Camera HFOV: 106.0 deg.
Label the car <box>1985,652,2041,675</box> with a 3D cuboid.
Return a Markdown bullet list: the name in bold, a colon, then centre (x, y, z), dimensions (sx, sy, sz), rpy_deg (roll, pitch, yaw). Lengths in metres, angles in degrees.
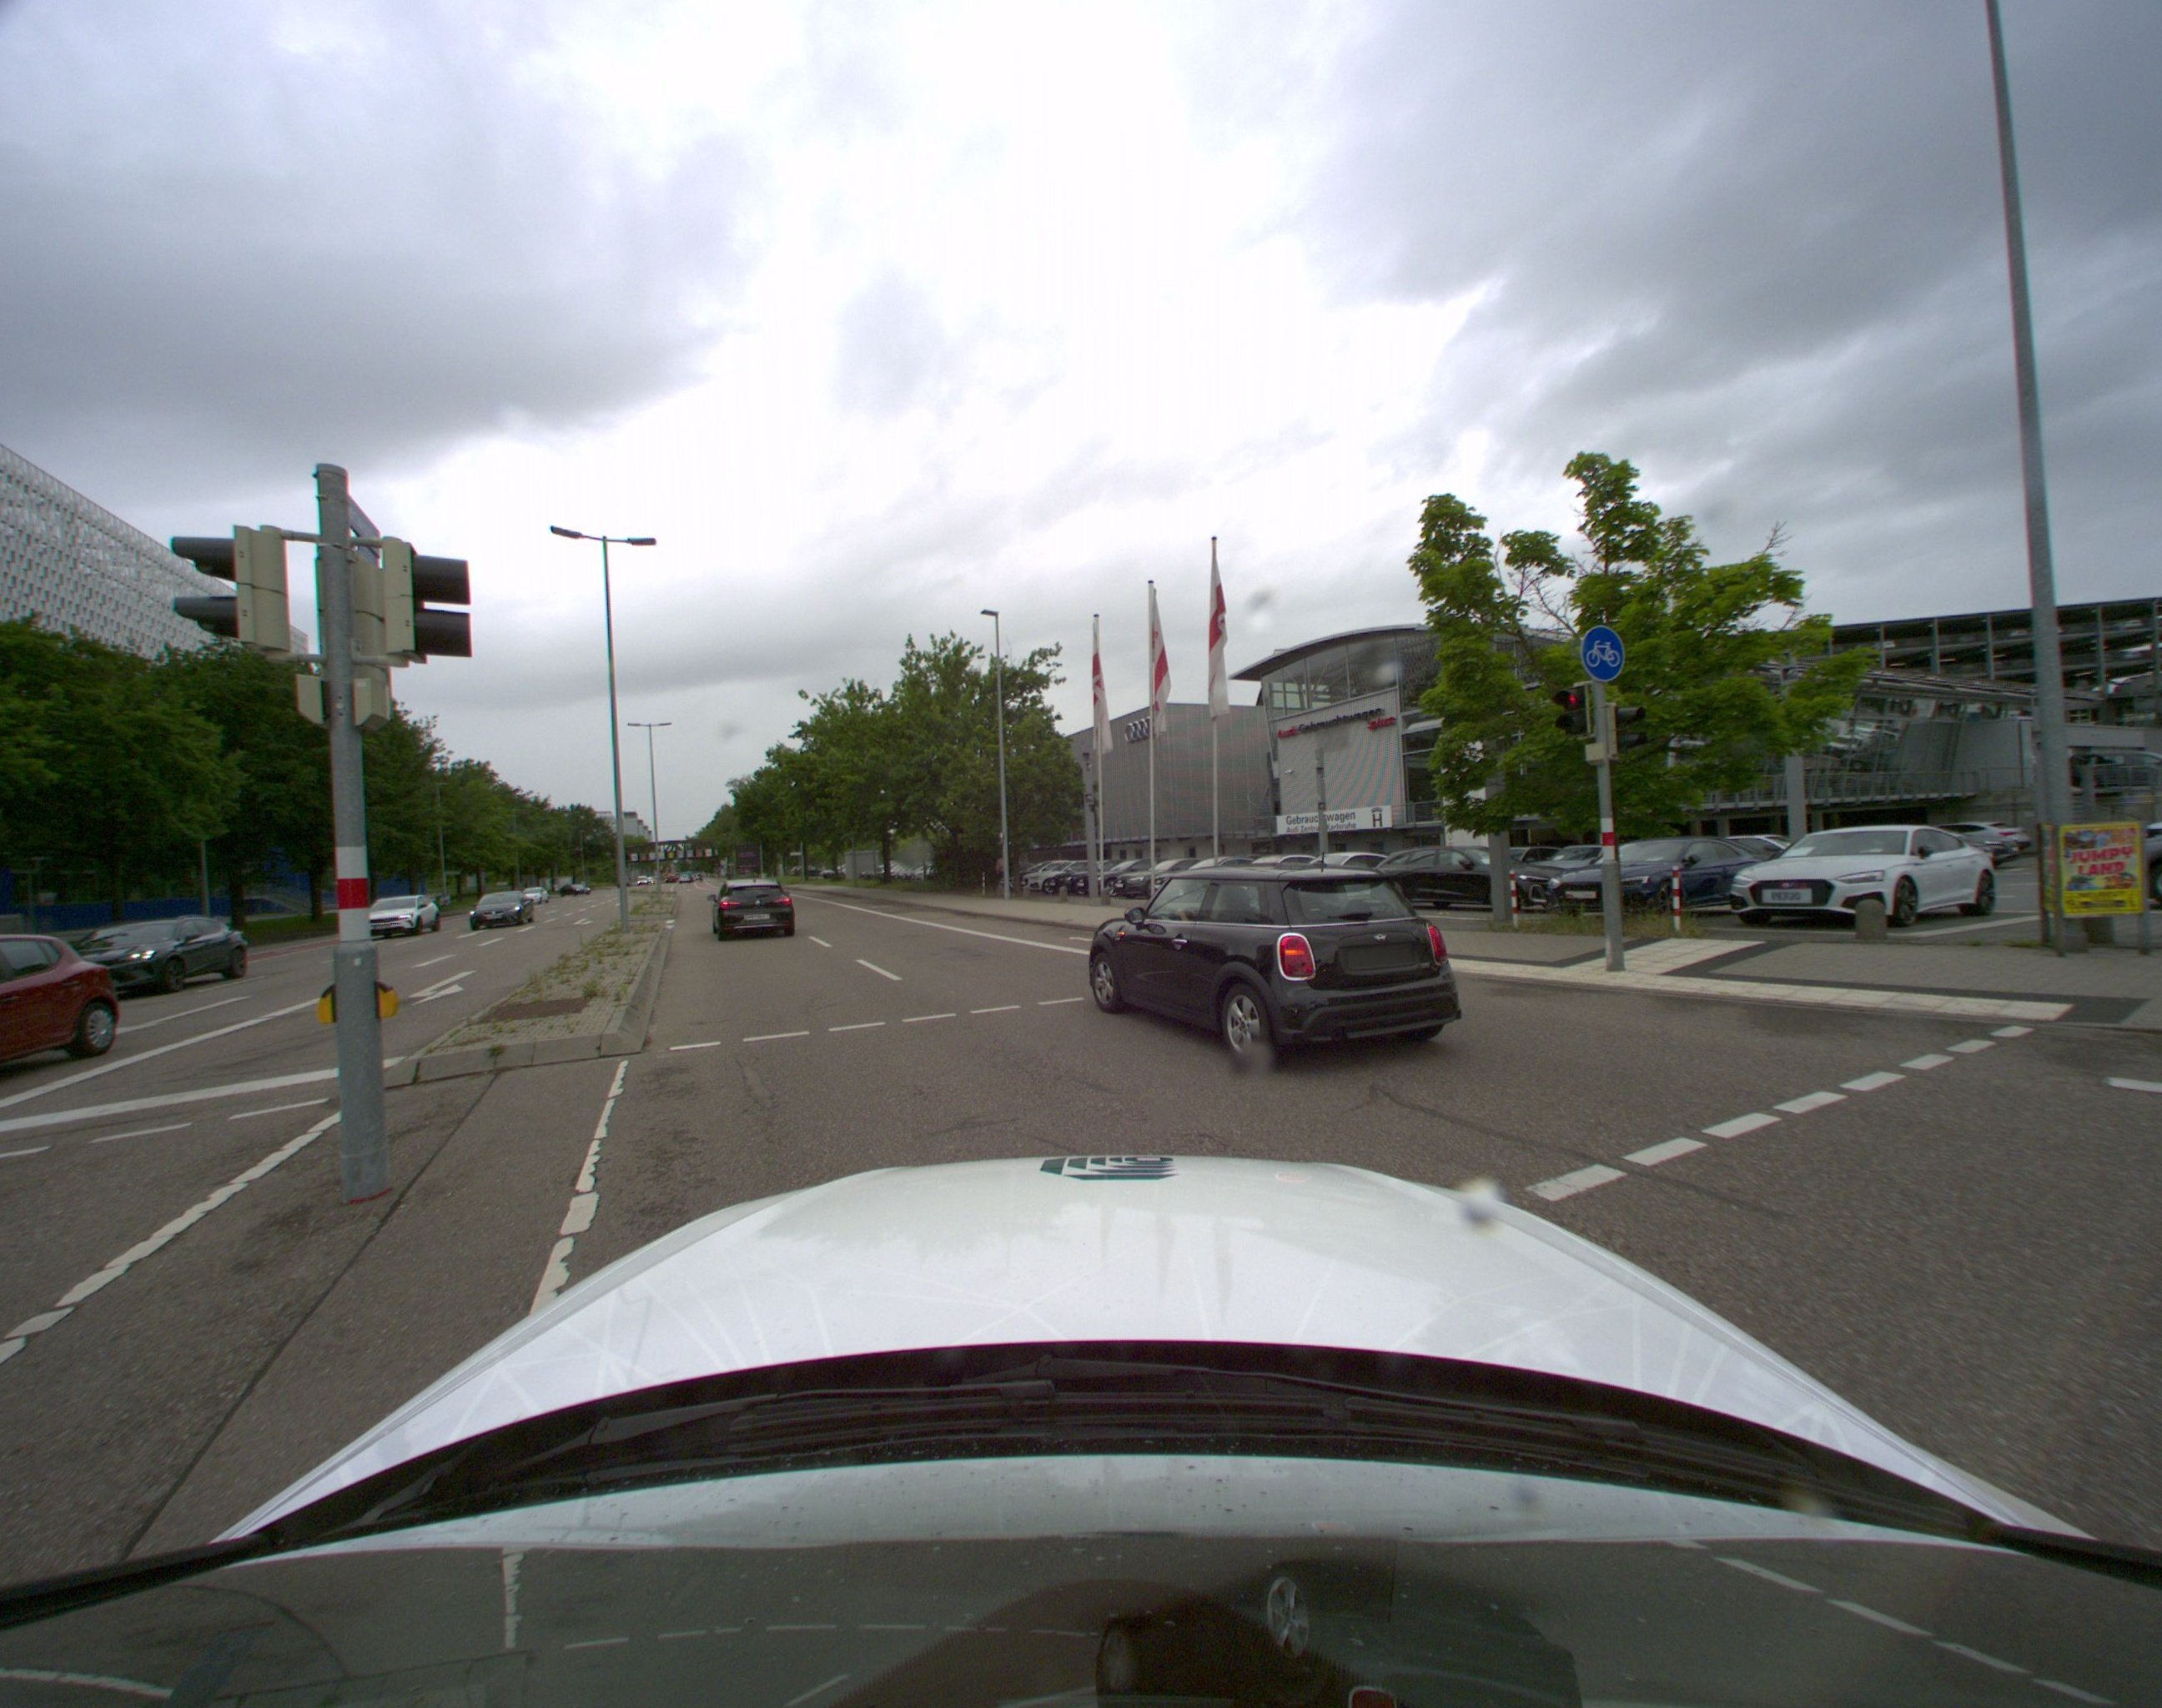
- **car**: centre (104.426, -21.325, 91.305), dimensions (1.981, 1.667, 4.012), rpy_deg (-2, 1, 10)

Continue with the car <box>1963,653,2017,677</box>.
- **car**: centre (102.288, -21.248, 91.676), dimensions (1.981, 1.667, 4.012), rpy_deg (-2, 1, 10)

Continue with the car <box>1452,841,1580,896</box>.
- **car**: centre (15.364, 0.455, 28.738), dimensions (4.327, 1.695, 1.795), rpy_deg (-2, 1, -26)

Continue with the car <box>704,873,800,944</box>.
- **car**: centre (-8.342, 1.280, 20.449), dimensions (1.767, 1.434, 3.963), rpy_deg (-4, 1, -28)

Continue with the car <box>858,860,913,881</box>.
- **car**: centre (-17.974, 1.485, 74.770), dimensions (4.571, 1.702, 1.984), rpy_deg (3, -1, -25)

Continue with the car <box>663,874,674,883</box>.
- **car**: centre (-90.699, 5.397, 179.085), dimensions (1.959, 1.815, 3.969), rpy_deg (-2, 1, -23)

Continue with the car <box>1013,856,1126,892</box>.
- **car**: centre (-0.494, 0.868, 36.115), dimensions (4.674, 1.472, 1.832), rpy_deg (0, 0, -27)

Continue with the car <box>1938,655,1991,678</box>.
- **car**: centre (99.786, -21.133, 92.038), dimensions (1.981, 1.667, 4.012), rpy_deg (-2, 1, 10)

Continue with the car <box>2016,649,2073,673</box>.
- **car**: centre (107.383, -21.527, 90.800), dimensions (1.981, 1.667, 4.012), rpy_deg (-2, 1, 10)

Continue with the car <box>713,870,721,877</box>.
- **car**: centre (-100.626, 5.456, 225.232), dimensions (1.959, 1.815, 3.969), rpy_deg (-2, 1, -23)

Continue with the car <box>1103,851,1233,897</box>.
- **car**: centre (3.058, 0.677, 28.654), dimensions (4.199, 1.486, 1.892), rpy_deg (0, -1, -27)

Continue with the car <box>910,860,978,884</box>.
- **car**: centre (-9.472, 1.250, 56.185), dimensions (4.218, 1.486, 1.942), rpy_deg (2, -1, -27)

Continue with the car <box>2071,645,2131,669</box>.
- **car**: centre (112.772, -21.769, 90.103), dimensions (1.981, 1.667, 4.012), rpy_deg (-2, 1, 10)

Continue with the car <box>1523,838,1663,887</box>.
- **car**: centre (16.662, 0.250, 26.493), dimensions (4.270, 1.486, 1.912), rpy_deg (0, 0, -26)

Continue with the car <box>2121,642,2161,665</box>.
- **car**: centre (117.783, -22.116, 89.606), dimensions (1.981, 1.667, 4.012), rpy_deg (-2, 1, 10)

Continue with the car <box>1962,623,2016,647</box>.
- **car**: centre (102.218, -24.646, 91.733), dimensions (1.981, 1.667, 4.012), rpy_deg (-2, 1, 10)

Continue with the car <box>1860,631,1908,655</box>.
- **car**: centre (92.068, -24.200, 93.425), dimensions (1.981, 1.667, 4.012), rpy_deg (-2, 1, 10)

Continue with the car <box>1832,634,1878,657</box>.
- **car**: centre (89.275, -24.034, 93.986), dimensions (1.981, 1.667, 4.012), rpy_deg (-2, 1, 10)

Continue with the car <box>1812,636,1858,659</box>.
- **car**: centre (87.035, -23.824, 94.096), dimensions (1.981, 1.667, 4.012), rpy_deg (-2, 1, 10)

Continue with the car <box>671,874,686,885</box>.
- **car**: centre (-70.970, 4.546, 143.744), dimensions (2.145, 1.661, 3.753), rpy_deg (-2, 1, -23)

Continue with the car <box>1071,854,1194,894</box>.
- **car**: centre (1.979, 0.740, 31.304), dimensions (4.388, 1.471, 1.878), rpy_deg (0, -1, -27)

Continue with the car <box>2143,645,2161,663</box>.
- **car**: centre (119.989, -22.251, 89.339), dimensions (1.981, 1.667, 4.012), rpy_deg (-2, 1, 10)

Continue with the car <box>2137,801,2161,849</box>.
- **car**: centre (39.396, -1.084, 27.792), dimensions (4.421, 1.658, 1.920), rpy_deg (-2, -1, -3)

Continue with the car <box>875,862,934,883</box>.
- **car**: centre (-14.748, 1.507, 67.970), dimensions (4.414, 1.520, 1.984), rpy_deg (3, -1, -25)

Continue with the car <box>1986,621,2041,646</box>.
- **car**: centre (104.371, -24.685, 91.247), dimensions (1.981, 1.667, 4.012), rpy_deg (-2, 1, 10)

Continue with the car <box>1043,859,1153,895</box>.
- **car**: centre (0.720, 0.920, 33.734), dimensions (4.176, 1.391, 1.886), rpy_deg (0, -1, -26)

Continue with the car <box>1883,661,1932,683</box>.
- **car**: centre (94.612, -20.838, 93.297), dimensions (1.981, 1.667, 4.012), rpy_deg (-2, 1, 10)

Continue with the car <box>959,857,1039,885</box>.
- **car**: centre (-4.710, 0.979, 46.797), dimensions (4.144, 1.394, 1.855), rpy_deg (4, -1, -27)

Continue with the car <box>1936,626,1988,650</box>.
- **car**: centre (99.593, -24.398, 92.132), dimensions (1.981, 1.667, 4.012), rpy_deg (-2, 1, 10)

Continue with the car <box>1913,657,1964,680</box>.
- **car**: centre (97.337, -21.010, 92.457), dimensions (1.981, 1.667, 4.012), rpy_deg (-2, 1, 10)

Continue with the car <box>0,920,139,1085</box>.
- **car**: centre (-11.097, 1.507, 7.451), dimensions (1.745, 1.487, 4.042), rpy_deg (-5, 0, -27)

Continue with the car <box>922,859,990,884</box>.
- **car**: centre (-8.274, 1.169, 53.897), dimensions (4.084, 1.486, 1.803), rpy_deg (3, -1, -27)

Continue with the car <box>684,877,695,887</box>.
- **car**: centre (-80.831, 5.750, 168.151), dimensions (1.959, 1.815, 3.969), rpy_deg (-2, 1, -23)

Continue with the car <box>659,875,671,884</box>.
- **car**: centre (-88.402, 5.484, 173.186), dimensions (1.893, 1.661, 3.753), rpy_deg (-2, 1, -23)

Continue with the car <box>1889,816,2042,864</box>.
- **car**: centre (36.257, -0.574, 33.499), dimensions (1.764, 1.837, 3.964), rpy_deg (-2, 1, -28)

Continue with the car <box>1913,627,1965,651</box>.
- **car**: centre (97.313, -24.342, 92.425), dimensions (1.981, 1.667, 4.012), rpy_deg (-2, 1, 10)

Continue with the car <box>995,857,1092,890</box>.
- **car**: centre (-1.776, 0.907, 38.613), dimensions (4.226, 1.421, 1.839), rpy_deg (-1, -1, -27)

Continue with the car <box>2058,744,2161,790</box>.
- **car**: centre (48.462, -3.997, 37.617), dimensions (1.763, 1.837, 3.968), rpy_deg (-2, 1, -24)

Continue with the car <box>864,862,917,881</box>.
- **car**: centre (-16.933, 1.582, 72.405), dimensions (4.195, 1.446, 1.944), rpy_deg (3, -1, -25)
